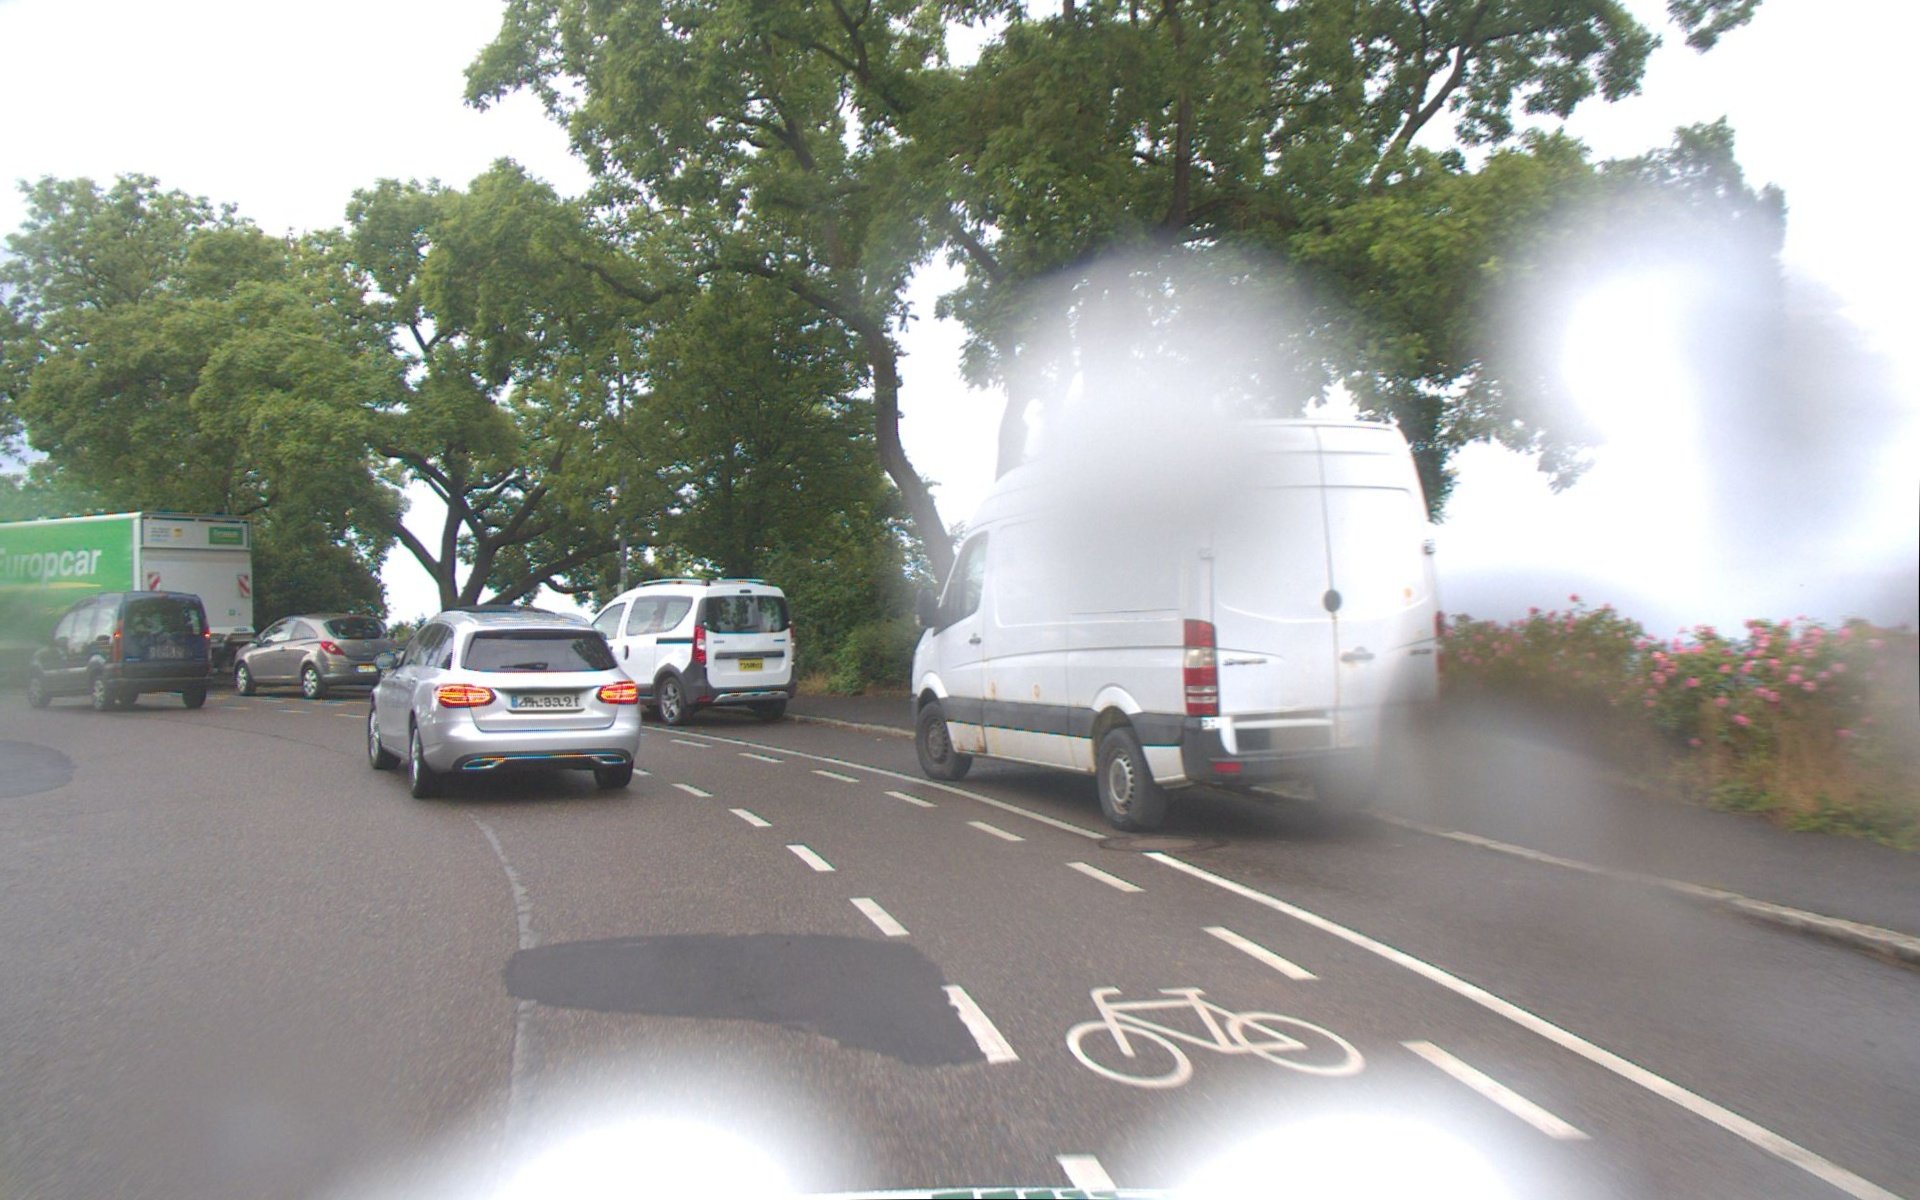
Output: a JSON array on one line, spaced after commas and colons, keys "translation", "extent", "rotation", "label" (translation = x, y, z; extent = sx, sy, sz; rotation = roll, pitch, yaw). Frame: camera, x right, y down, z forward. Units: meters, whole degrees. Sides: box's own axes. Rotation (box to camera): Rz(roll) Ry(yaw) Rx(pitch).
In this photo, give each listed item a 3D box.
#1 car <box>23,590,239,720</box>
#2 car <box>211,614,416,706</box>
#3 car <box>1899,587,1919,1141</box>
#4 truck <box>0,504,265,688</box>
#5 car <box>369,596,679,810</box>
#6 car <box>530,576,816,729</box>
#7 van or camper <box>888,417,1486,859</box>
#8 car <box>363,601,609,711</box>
[{"translation": [-13.541, 0.852, 26.930], "extent": [4.023, 1.915, 1.819], "rotation": [-1, 1, 43], "label": "car"}, {"translation": [-11.956, 1.073, 30.480], "extent": [4.057, 1.529, 1.731], "rotation": [-1, 1, 39], "label": "car"}, {"translation": [3.585, 0.738, 2.609], "extent": [1.663, 1.469, 3.942], "rotation": [1, 1, -6], "label": "car"}, {"translation": [-18.864, -0.038, 34.978], "extent": [8.733, 3.531, 2.779], "rotation": [-1, 0, 28], "label": "truck"}, {"translation": [-4.008, 0.803, 14.661], "extent": [1.957, 1.581, 4.263], "rotation": [0, -1, -25], "label": "car"}, {"translation": [-4.013, 0.667, 22.636], "extent": [1.738, 1.853, 4.353], "rotation": [-2, 1, -43], "label": "car"}, {"translation": [1.351, 0.185, 12.947], "extent": [2.037, 2.625, 5.850], "rotation": [-2, 1, -21], "label": "van or camper"}, {"translation": [-7.762, 0.859, 26.785], "extent": [1.851, 1.569, 4.817], "rotation": [-2, 1, -43], "label": "car"}]
